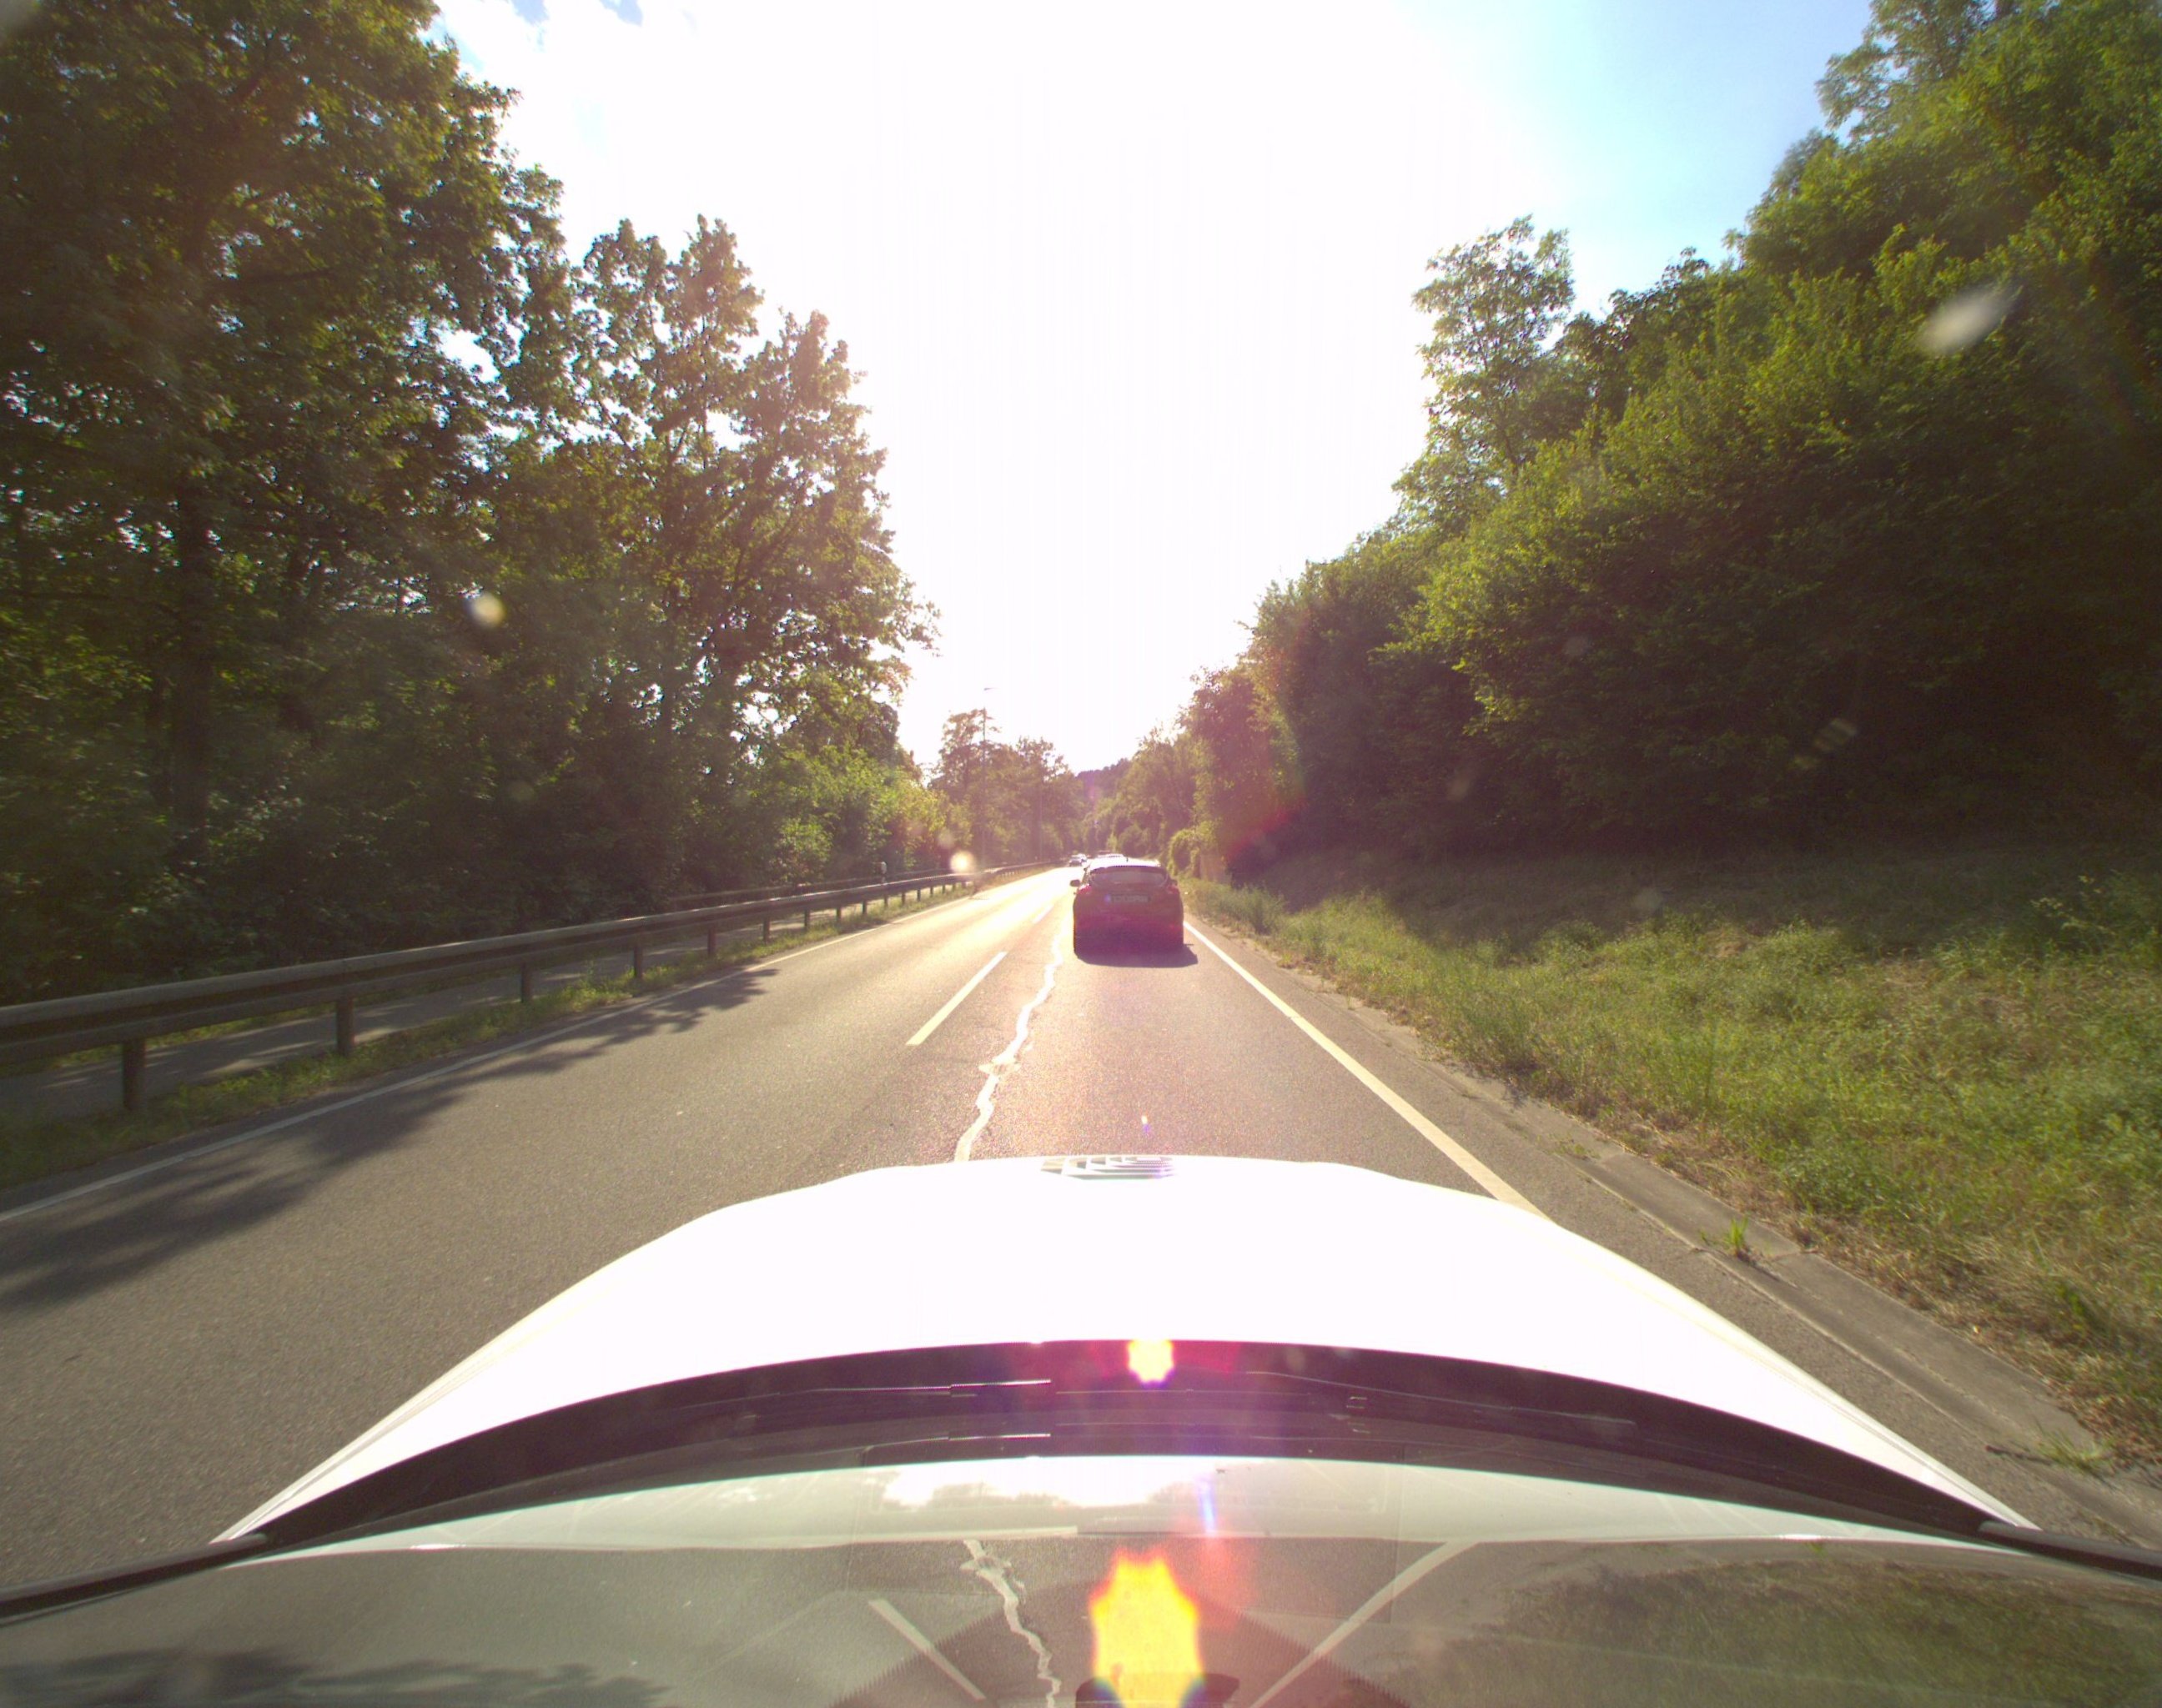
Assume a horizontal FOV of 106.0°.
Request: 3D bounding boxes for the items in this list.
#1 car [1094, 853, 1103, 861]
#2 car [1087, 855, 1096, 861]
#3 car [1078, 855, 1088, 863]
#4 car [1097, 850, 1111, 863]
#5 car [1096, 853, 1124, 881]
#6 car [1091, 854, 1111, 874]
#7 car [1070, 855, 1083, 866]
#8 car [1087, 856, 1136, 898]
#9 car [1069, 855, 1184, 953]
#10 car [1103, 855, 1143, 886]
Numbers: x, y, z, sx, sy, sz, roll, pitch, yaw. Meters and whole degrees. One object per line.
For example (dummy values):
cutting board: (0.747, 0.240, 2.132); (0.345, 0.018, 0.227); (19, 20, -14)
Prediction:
car: (3.755, 0.640, 170.674); (1.812, 1.519, 4.002); (-1, 0, 2)
car: (2.837, 1.082, 226.119); (1.990, 1.519, 3.993); (-1, 0, -5)
car: (0.406, 0.846, 148.188); (1.675, 1.463, 4.199); (-1, 0, 1)
car: (3.429, 0.368, 122.770); (1.858, 1.780, 3.998); (-1, 0, -1)
car: (1.757, 0.745, 49.600); (1.624, 1.596, 4.002); (-1, 0, 2)
car: (1.762, 0.834, 69.871); (1.624, 1.596, 4.002); (-1, 0, 2)
car: (-0.571, 0.855, 108.974); (1.617, 1.377, 4.048); (-2, 0, 1)
car: (1.161, 0.792, 29.688); (1.654, 1.418, 4.004); (-1, 0, 3)
car: (0.757, 0.771, 14.306); (1.733, 1.456, 4.002); (-1, 0, 2)
car: (1.965, 0.765, 39.064); (1.798, 1.391, 4.002); (-1, 0, 2)
